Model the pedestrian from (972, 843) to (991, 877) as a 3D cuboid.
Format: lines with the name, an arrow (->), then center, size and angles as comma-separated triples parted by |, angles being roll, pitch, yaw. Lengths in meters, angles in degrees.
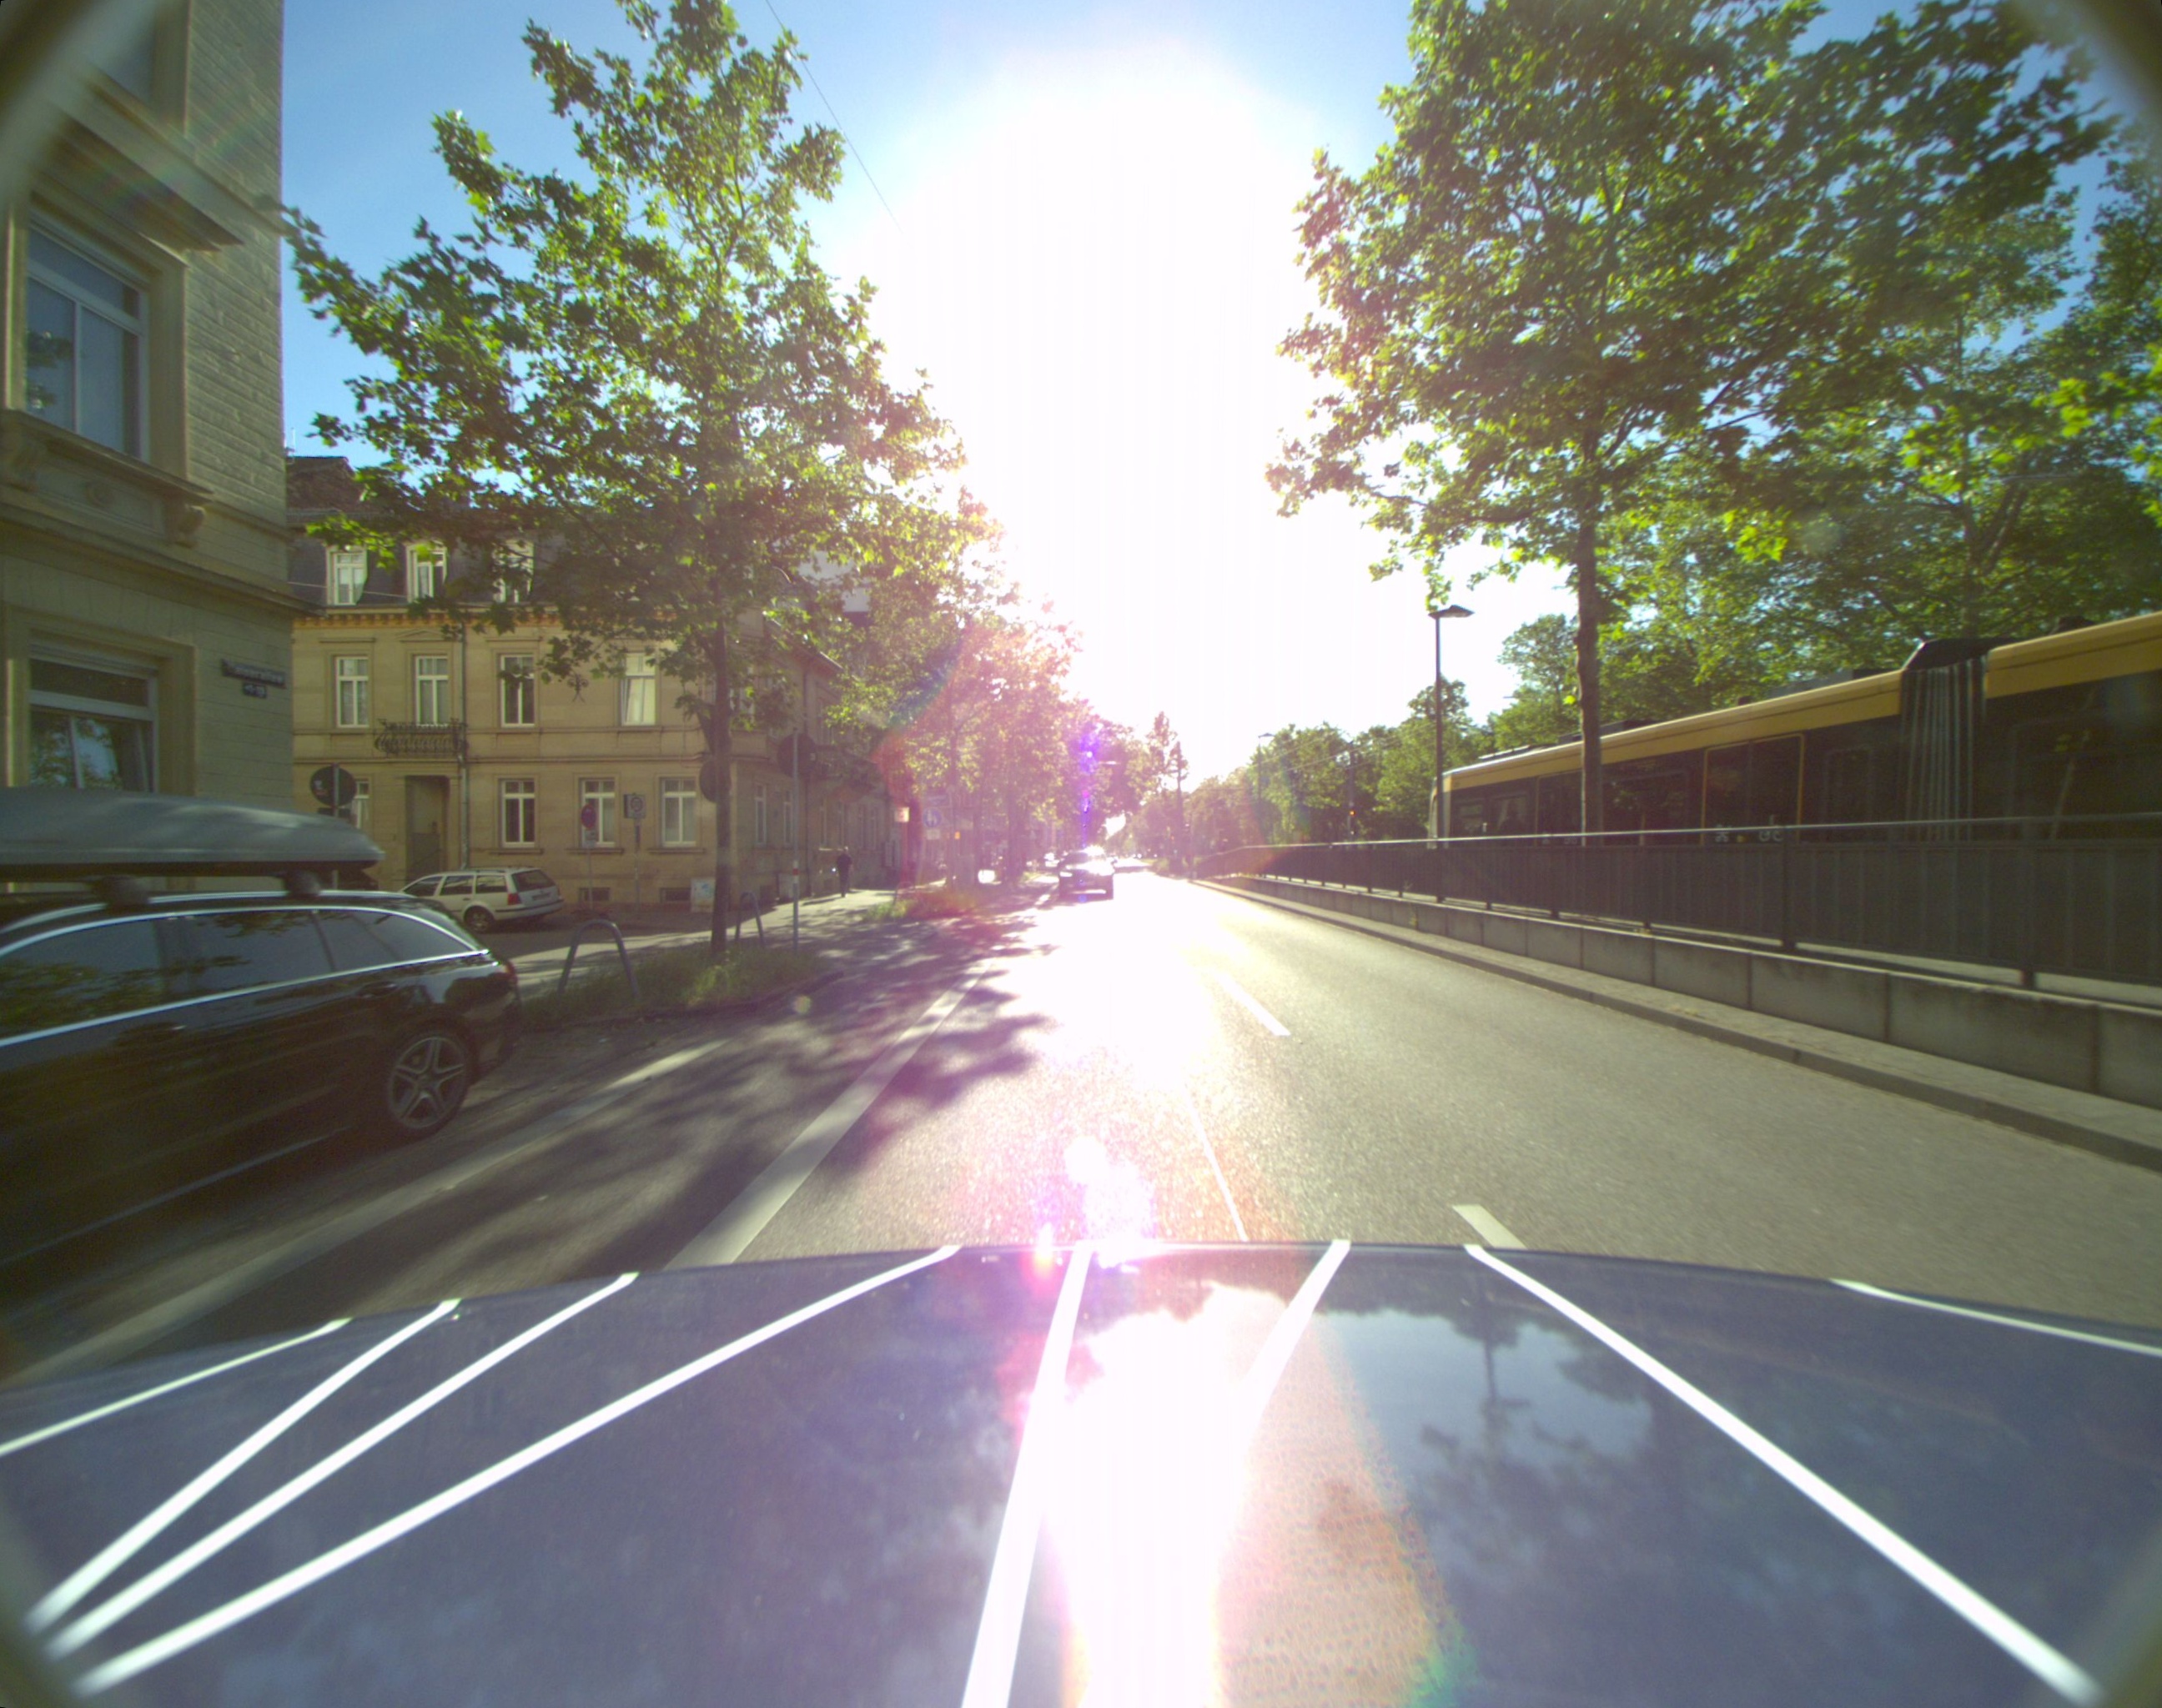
pedestrian -> -5.964, 0.368, 45.667 | 0.884, 2.002, 0.857 | -2, 0, 4

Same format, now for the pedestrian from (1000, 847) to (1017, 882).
pedestrian -> -3.730, 0.517, 38.996 | 0.643, 1.761, 0.869 | -2, 0, 7

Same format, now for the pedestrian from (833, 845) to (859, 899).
pedestrian -> -8.242, 0.626, 26.630 | 0.565, 1.816, 0.959 | -2, 0, -2

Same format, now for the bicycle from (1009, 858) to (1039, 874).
bicycle -> -3.962, 0.843, 53.009 | 2.019, 0.987, 0.444 | -2, 0, -1

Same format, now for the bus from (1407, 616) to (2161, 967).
bus -> 10.206, -0.618, 14.092 | 2.876, 3.424, 13.217 | -1, 0, 1

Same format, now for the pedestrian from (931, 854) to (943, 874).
pedestrian -> -8.761, 0.614, 46.187 | 0.648, 1.154, 0.610 | -2, 0, -10

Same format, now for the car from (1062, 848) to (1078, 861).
car -> -1.265, 0.065, 90.346 | 1.705, 1.416, 4.516 | -2, 0, 0

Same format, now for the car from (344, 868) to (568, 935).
car -> -14.891, 1.116, 18.222 | 4.068, 1.495, 1.648 | 0, 0, 3

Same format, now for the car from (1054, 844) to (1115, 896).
car -> 0.209, 0.543, 27.484 | 1.968, 1.664, 4.001 | -2, 0, 2

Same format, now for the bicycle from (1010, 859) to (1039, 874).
bicycle -> -3.981, 0.863, 53.496 | 2.009, 0.987, 0.444 | -2, 0, -1

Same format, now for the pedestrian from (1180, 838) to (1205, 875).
pedestrian -> 5.862, 0.151, 40.052 | 1.075, 1.905, 1.126 | -1, 1, -1

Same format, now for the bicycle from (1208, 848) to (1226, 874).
bicycle -> 6.359, 0.319, 35.621 | 0.329, 1.207, 1.828 | -1, 1, -5

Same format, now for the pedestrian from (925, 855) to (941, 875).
pedestrian -> -8.732, 0.666, 44.768 | 0.653, 1.154, 0.672 | -3, 0, -35

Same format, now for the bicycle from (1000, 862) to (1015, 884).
bicycle -> -3.400, 0.868, 35.283 | 0.429, 0.964, 1.750 | -2, 0, 1

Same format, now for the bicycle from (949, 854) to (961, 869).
bicycle -> -8.454, 0.509, 51.035 | 0.444, 0.987, 1.688 | -2, 0, 0

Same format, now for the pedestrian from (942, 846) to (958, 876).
pedestrian -> -7.972, 0.409, 46.129 | 0.468, 1.800, 0.775 | -2, 0, 32

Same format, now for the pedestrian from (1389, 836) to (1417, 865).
pedestrian -> 18.325, -0.218, 43.202 | 1.180, 1.634, 0.892 | -1, 1, -6

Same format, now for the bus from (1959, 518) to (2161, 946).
bus -> 9.998, -0.990, 1.377 | 2.876, 3.424, 12.215 | -1, 0, 1

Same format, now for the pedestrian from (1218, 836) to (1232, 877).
pedestrian -> 6.721, 0.120, 35.519 | 0.452, 1.892, 0.584 | -1, 1, -7

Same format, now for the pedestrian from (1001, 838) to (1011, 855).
pedestrian -> -8.562, -0.854, 86.945 | 1.002, 1.829, 0.715 | -1, 1, 3

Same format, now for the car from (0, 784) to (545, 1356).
car -> -4.582, 0.753, 2.809 | 1.759, 1.953, 4.737 | -1, 0, 1
